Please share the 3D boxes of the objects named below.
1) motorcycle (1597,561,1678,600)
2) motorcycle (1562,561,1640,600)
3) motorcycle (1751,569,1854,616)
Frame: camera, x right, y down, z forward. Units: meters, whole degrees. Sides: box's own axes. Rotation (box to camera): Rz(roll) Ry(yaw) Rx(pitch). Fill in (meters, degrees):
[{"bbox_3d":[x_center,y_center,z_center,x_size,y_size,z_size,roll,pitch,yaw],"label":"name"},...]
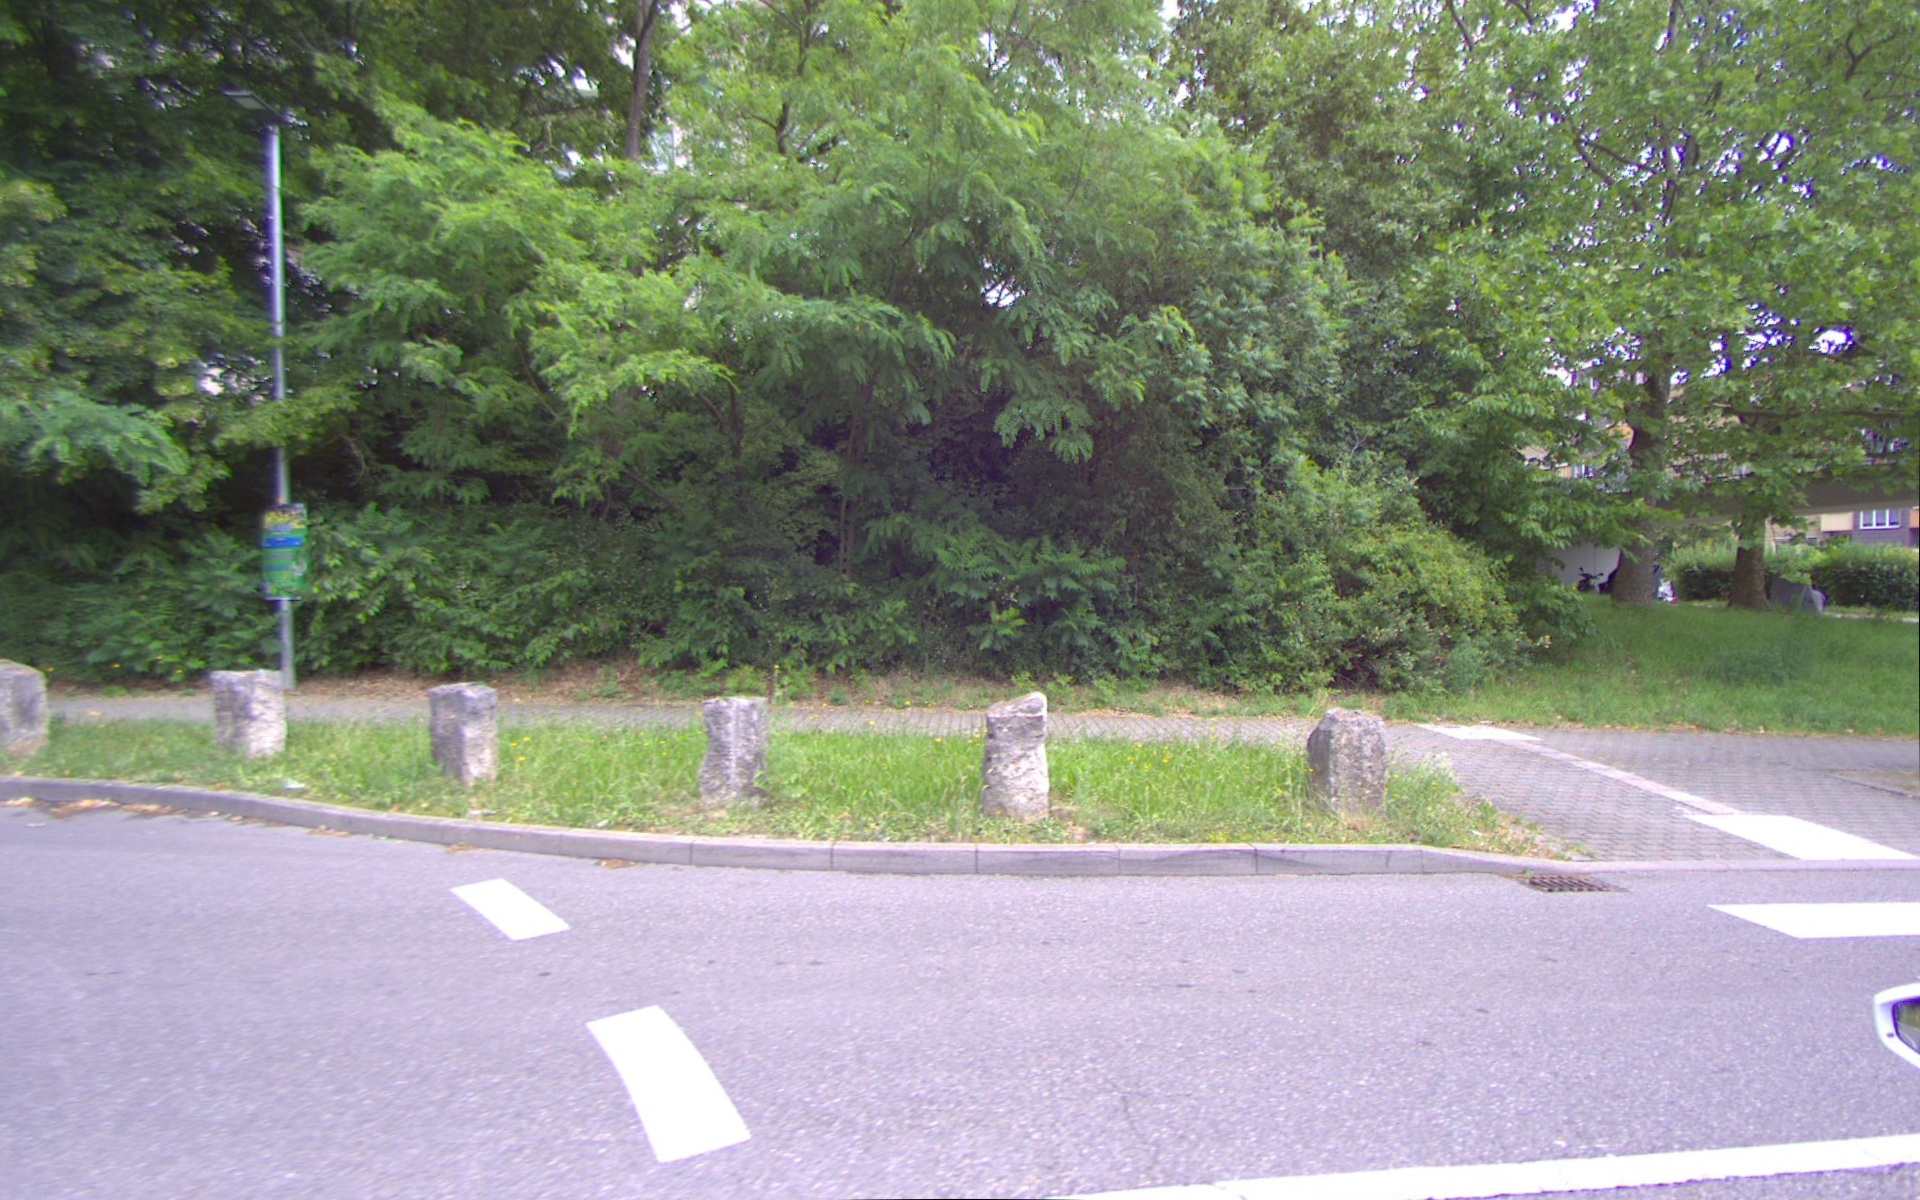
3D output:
[{"bbox_3d":[22.366,-0.640,33.186,2.276,1.287,0.884,0,2,-13],"label":"motorcycle"},{"bbox_3d":[21.807,-0.666,34.175,2.276,1.287,0.884,0,2,-13],"label":"motorcycle"},{"bbox_3d":[23.566,-0.224,28.119,2.005,1.287,0.887,1,2,10],"label":"motorcycle"}]
